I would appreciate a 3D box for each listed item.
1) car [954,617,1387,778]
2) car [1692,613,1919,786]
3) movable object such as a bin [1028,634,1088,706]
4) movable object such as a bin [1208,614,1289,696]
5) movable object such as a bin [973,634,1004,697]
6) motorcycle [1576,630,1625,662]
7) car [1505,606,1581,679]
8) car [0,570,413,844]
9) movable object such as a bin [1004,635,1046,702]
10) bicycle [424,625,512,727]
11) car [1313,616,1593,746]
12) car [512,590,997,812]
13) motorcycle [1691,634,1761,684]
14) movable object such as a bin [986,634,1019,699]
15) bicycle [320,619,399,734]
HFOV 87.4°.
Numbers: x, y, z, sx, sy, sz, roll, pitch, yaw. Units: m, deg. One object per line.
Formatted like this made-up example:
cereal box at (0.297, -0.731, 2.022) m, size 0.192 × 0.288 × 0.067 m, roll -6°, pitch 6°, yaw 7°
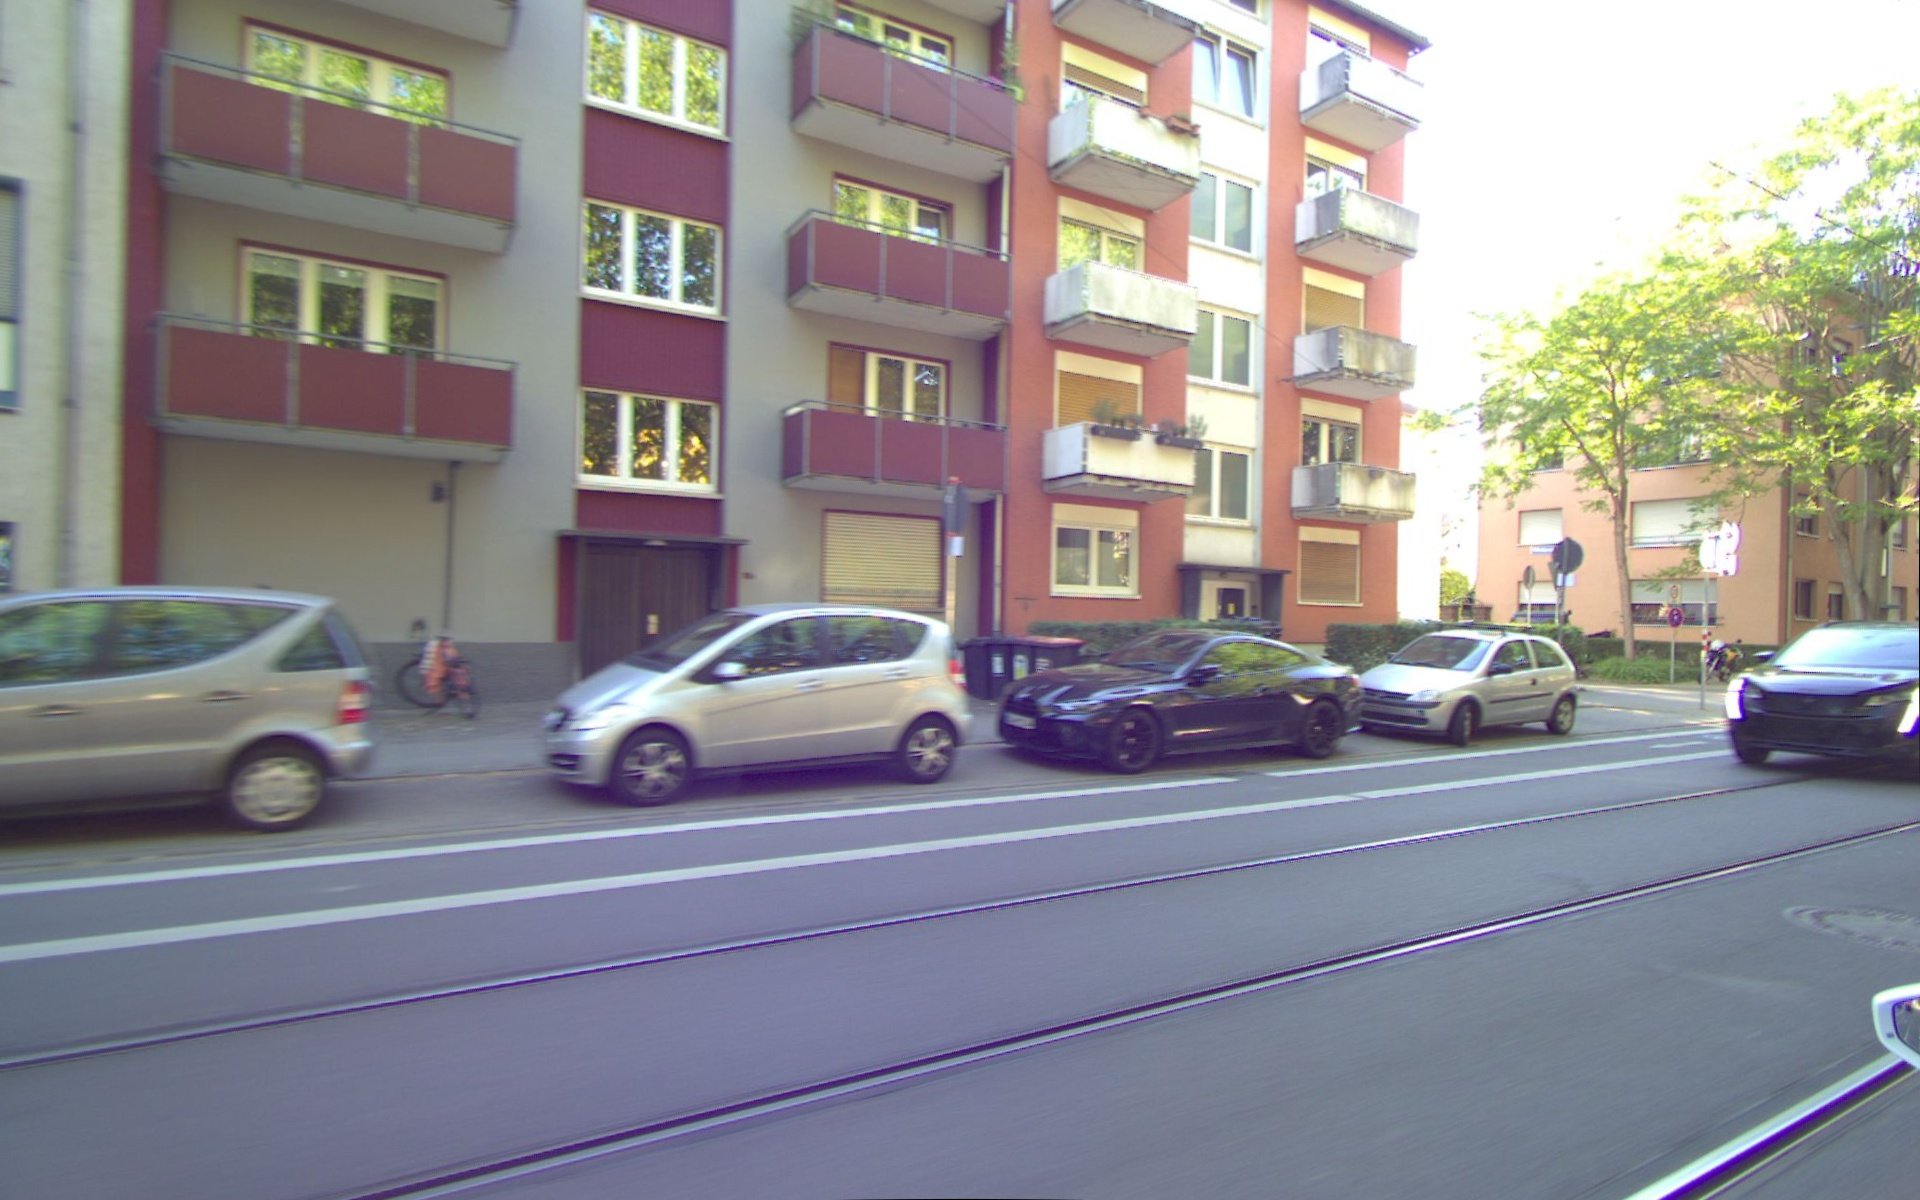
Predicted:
car at (2.512, 1.010, 11.638) m, size 4.805 × 1.414 × 1.943 m, roll 2°, pitch 2°, yaw -30°
car at (10.453, 0.999, 11.412) m, size 4.411 × 1.621 × 1.844 m, roll 2°, pitch -1°, yaw -30°
movable object such as a bin at (1.492, 1.063, 15.381) m, size 0.712 × 1.062 × 0.562 m, roll 2°, pitch -1°, yaw -29°
movable object such as a bin at (5.091, 0.959, 17.787) m, size 0.738 × 1.383 × 1.206 m, roll 1°, pitch -1°, yaw -29°
movable object such as a bin at (0.465, 1.071, 16.605) m, size 0.347 × 1.019 × 0.398 m, roll 1°, pitch -1°, yaw -29°
motorcycle at (23.976, 1.729, 37.583) m, size 2.043 × 1.144 × 0.691 m, roll 2°, pitch -1°, yaw -31°
car at (19.358, 1.365, 33.322) m, size 1.965 × 2.151 × 4.713 m, roll 2°, pitch 0°, yaw 31°
car at (-5.832, 0.635, 6.761) m, size 3.736 × 1.593 × 1.618 m, roll 2°, pitch 1°, yaw -30°
movable object such as a bin at (1.019, 1.071, 15.794) m, size 0.436 × 1.019 × 0.541 m, roll 1°, pitch -1°, yaw -29°
bicycle at (-6.053, 0.876, 12.285) m, size 0.691 × 1.006 × 2.276 m, roll 1°, pitch 1°, yaw -33°
car at (7.004, 1.066, 14.195) m, size 3.886 × 1.503 × 1.716 m, roll 2°, pitch 2°, yaw -32°
car at (-1.809, 0.779, 9.203) m, size 3.962 × 1.608 × 1.809 m, roll 2°, pitch 1°, yaw -33°
motorcycle at (22.157, 1.691, 29.037) m, size 2.323 × 1.298 × 0.897 m, roll -1°, pitch 1°, yaw -33°
movable object such as a bin at (0.691, 1.064, 16.237) m, size 0.347 × 1.019 × 0.430 m, roll 1°, pitch -1°, yaw -29°
bicycle at (-7.028, 0.824, 11.701) m, size 0.691 × 1.076 × 2.436 m, roll 1°, pitch 1°, yaw -33°
